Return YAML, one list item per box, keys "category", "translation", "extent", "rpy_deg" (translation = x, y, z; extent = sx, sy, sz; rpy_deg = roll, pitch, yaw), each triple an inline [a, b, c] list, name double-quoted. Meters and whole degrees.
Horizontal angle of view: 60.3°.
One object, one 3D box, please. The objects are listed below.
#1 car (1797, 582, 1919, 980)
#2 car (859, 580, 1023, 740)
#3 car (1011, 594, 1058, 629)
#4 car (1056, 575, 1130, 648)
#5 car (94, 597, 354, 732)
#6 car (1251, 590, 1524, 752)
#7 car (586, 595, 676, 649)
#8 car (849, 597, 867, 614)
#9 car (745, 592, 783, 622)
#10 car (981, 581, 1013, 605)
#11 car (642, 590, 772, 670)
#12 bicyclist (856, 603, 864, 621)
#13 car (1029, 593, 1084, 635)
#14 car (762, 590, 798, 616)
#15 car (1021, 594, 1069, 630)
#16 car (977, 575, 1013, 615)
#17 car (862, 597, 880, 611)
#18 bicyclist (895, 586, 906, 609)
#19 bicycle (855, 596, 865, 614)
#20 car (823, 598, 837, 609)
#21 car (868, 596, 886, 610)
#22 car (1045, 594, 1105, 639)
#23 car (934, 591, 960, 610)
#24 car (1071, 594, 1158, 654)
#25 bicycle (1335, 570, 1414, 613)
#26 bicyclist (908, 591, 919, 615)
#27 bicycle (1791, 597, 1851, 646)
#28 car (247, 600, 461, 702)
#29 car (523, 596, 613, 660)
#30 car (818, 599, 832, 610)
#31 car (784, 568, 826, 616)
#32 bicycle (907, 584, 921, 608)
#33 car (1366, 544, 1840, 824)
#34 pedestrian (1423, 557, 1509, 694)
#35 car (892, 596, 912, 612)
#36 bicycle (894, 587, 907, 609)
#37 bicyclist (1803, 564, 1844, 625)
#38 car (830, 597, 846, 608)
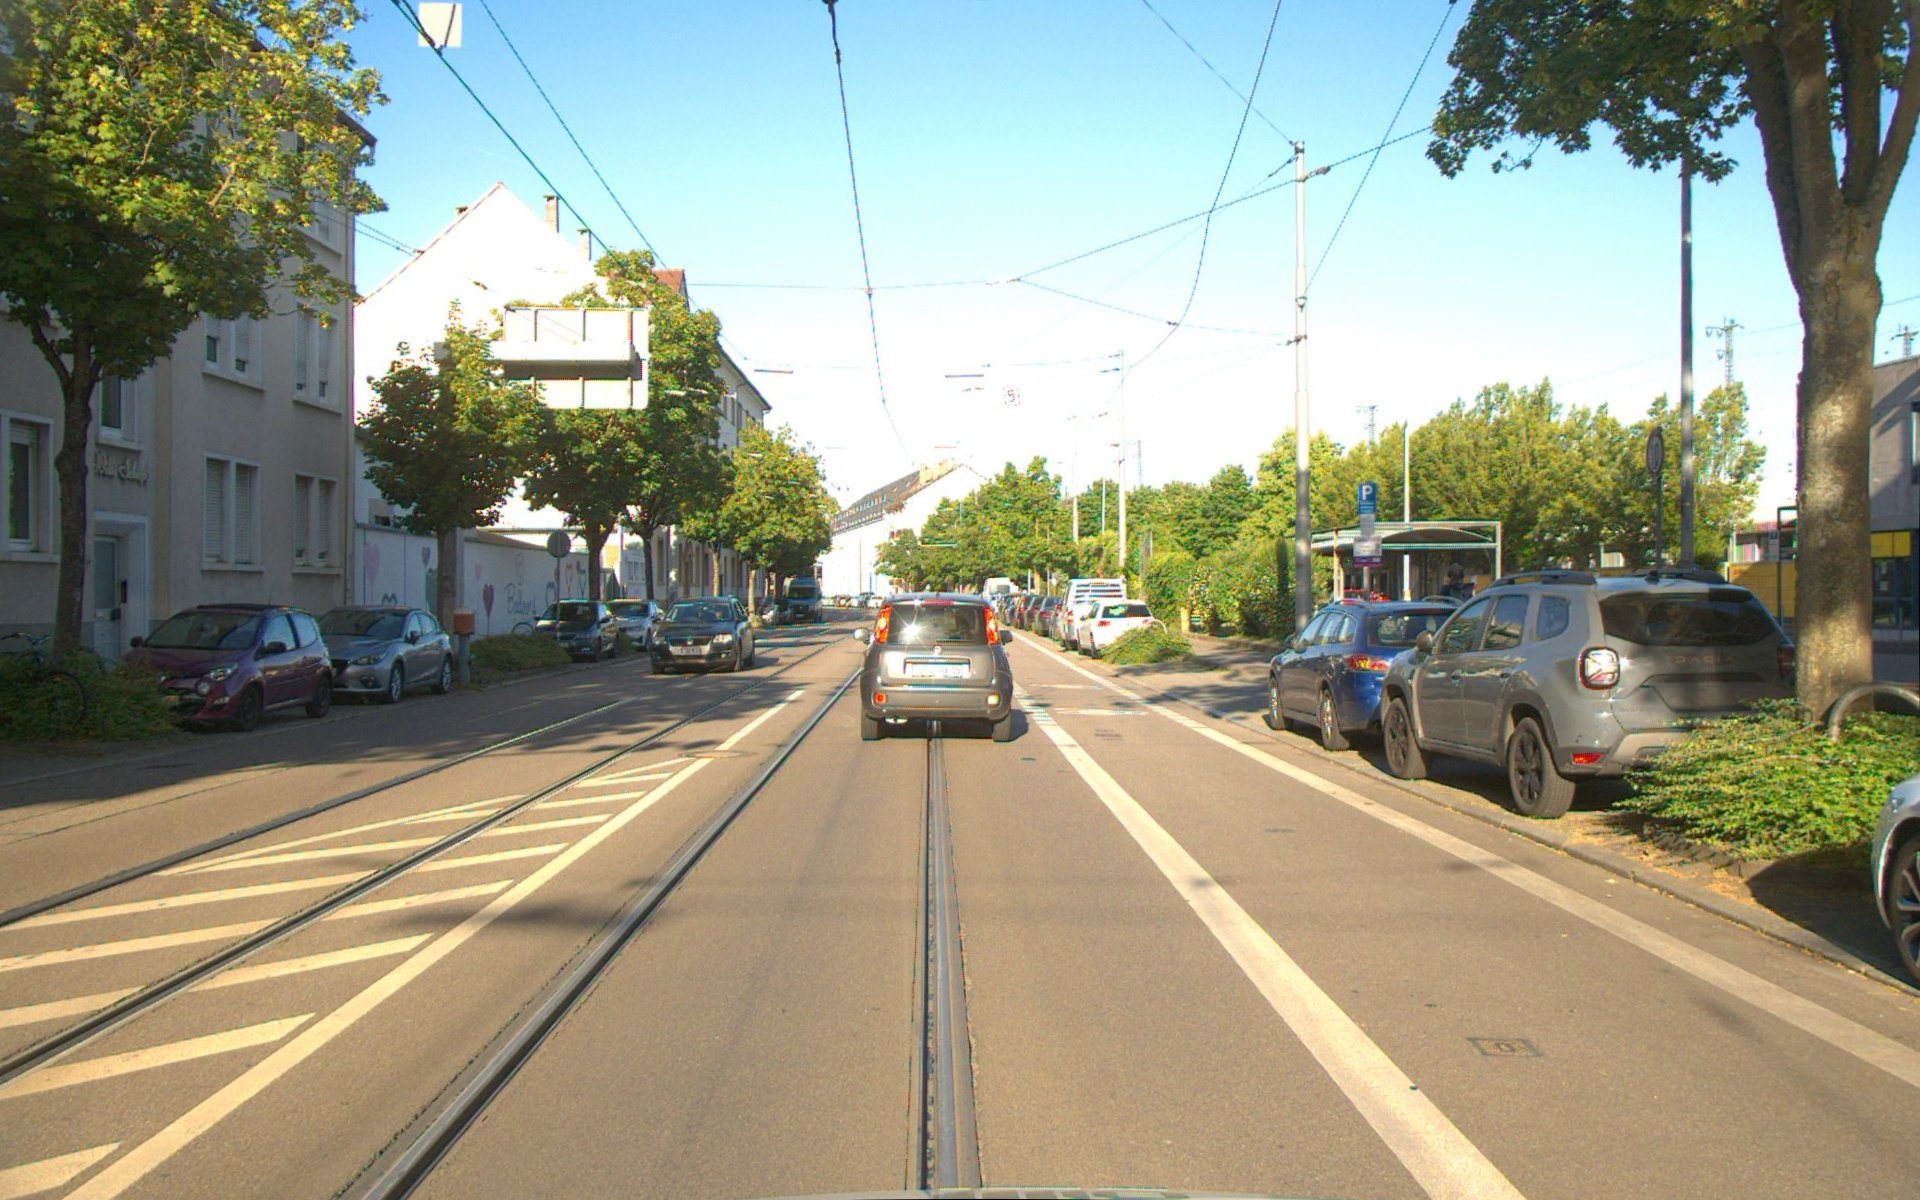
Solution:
- category: "car"
  translation: [4.542, 0.727, 4.911]
  extent: [1.677, 1.516, 4.622]
  rpy_deg: [1, 1, -1]
- category: "car"
  translation: [-0.230, 0.596, 18.596]
  extent: [1.616, 1.568, 4.233]
  rpy_deg: [-1, 0, -1]
- category: "car"
  translation: [3.409, 0.533, 76.625]
  extent: [1.788, 1.519, 3.812]
  rpy_deg: [-2, 0, -3]
- category: "car"
  translation: [3.873, 0.326, 48.973]
  extent: [1.816, 2.026, 5.242]
  rpy_deg: [0, 0, 1]
- category: "car"
  translation: [-9.207, 0.754, 21.040]
  extent: [1.540, 1.531, 3.999]
  rpy_deg: [1, 0, -1]
- category: "car"
  translation: [4.438, 0.676, 17.907]
  extent: [1.668, 1.507, 4.657]
  rpy_deg: [0, 0, -1]
- category: "car"
  translation: [-9.749, 0.629, 49.297]
  extent: [1.827, 1.516, 4.660]
  rpy_deg: [1, 0, -1]
- category: "car"
  translation: [-12.427, 0.694, 201.151]
  extent: [1.626, 1.978, 4.651]
  rpy_deg: [1, 0, -11]
- category: "car"
  translation: [-10.469, 0.367, 88.554]
  extent: [1.618, 1.517, 3.999]
  rpy_deg: [1, 0, -1]
- category: "car"
  translation: [2.528, -0.466, 113.911]
  extent: [1.872, 1.556, 4.598]
  rpy_deg: [-1, 0, -2]
- category: "car"
  translation: [-5.073, 0.584, 33.738]
  extent: [1.729, 1.489, 4.748]
  rpy_deg: [-1, 0, 2]
- category: "bicyclist"
  translation: [-11.211, 1.316, 185.558]
  extent: [0.702, 2.049, 0.829]
  rpy_deg: [1, -1, -12]
- category: "car"
  translation: [3.602, 0.514, 62.214]
  extent: [1.787, 1.510, 4.601]
  rpy_deg: [1, 0, 0]
- category: "car"
  translation: [-10.305, 0.159, 95.079]
  extent: [1.618, 1.450, 4.189]
  rpy_deg: [1, 0, -1]
- category: "car"
  translation: [3.611, 0.513, 70.704]
  extent: [1.787, 1.477, 4.641]
  rpy_deg: [0, 0, 0]
- category: "car"
  translation: [2.506, -0.349, 120.764]
  extent: [2.136, 2.712, 6.088]
  rpy_deg: [-2, 0, -3]
- category: "car"
  translation: [-10.410, 0.426, 193.626]
  extent: [1.626, 1.599, 3.865]
  rpy_deg: [1, 0, -11]
- category: "bicyclist"
  translation: [-4.826, -0.196, 134.212]
  extent: [0.687, 1.790, 0.755]
  rpy_deg: [1, -1, -12]
- category: "bicycle"
  translation: [-11.195, 0.531, 185.590]
  extent: [0.728, 2.049, 2.803]
  rpy_deg: [1, 0, -12]
- category: "car"
  translation: [-18.129, 0.452, 230.789]
  extent: [1.555, 1.430, 3.366]
  rpy_deg: [1, 0, -12]
- category: "car"
  translation: [-9.517, 0.377, 189.218]
  extent: [1.626, 1.599, 3.489]
  rpy_deg: [1, 0, -11]
- category: "car"
  translation: [3.950, 0.561, 57.413]
  extent: [1.834, 1.498, 4.075]
  rpy_deg: [1, 0, 1]
- category: "car"
  translation: [-1.143, 0.051, 139.881]
  extent: [1.657, 1.557, 3.993]
  rpy_deg: [-2, 0, -8]
- category: "car"
  translation: [4.029, 0.615, 43.662]
  extent: [1.642, 1.442, 4.500]
  rpy_deg: [-2, 0, -3]
- category: "bicycle"
  translation: [10.276, -0.218, 41.062]
  extent: [1.856, 1.026, 0.577]
  rpy_deg: [1, 0, 11]
- category: "bicyclist"
  translation: [-3.536, 0.220, 125.308]
  extent: [0.687, 1.790, 0.755]
  rpy_deg: [1, -1, -12]
- category: "bicycle"
  translation: [20.006, 0.500, 38.423]
  extent: [0.741, 1.089, 1.996]
  rpy_deg: [0, -1, 43]
- category: "car"
  translation: [-9.453, 0.753, 26.199]
  extent: [1.835, 1.454, 4.292]
  rpy_deg: [1, 0, -1]
- category: "car"
  translation: [-9.807, 0.681, 41.669]
  extent: [1.739, 1.512, 4.298]
  rpy_deg: [1, 0, -8]
- category: "car"
  translation: [-19.292, 0.652, 236.391]
  extent: [1.555, 1.627, 3.366]
  rpy_deg: [1, 0, -12]
- category: "car"
  translation: [-9.587, -0.450, 102.650]
  extent: [1.976, 2.875, 6.031]
  rpy_deg: [1, 0, 0]
- category: "bicycle"
  translation: [-3.499, -0.311, 125.260]
  extent: [0.663, 1.777, 2.151]
  rpy_deg: [1, 0, -12]
- category: "car"
  translation: [4.595, 0.540, 12.576]
  extent: [1.707, 1.741, 4.274]
  rpy_deg: [1, 0, -4]
- category: "pedestrian"
  translation: [7.059, 0.346, 23.111]
  extent: [0.657, 1.820, 1.304]
  rpy_deg: [-4, 0, -1]
- category: "car"
  translation: [-6.029, 0.442, 171.236]
  extent: [1.606, 1.534, 3.388]
  rpy_deg: [-3, 0, -10]
- category: "bicycle"
  translation: [-4.800, -0.177, 134.150]
  extent: [0.663, 1.777, 2.151]
  rpy_deg: [1, 0, -12]
- category: "bicyclist"
  translation: [20.096, -0.131, 38.492]
  extent: [0.717, 1.408, 0.578]
  rpy_deg: [0, -1, 43]
- category: "car"
  translation: [-16.138, 0.315, 218.980]
  extent: [1.555, 1.429, 3.366]
  rpy_deg: [-3, 1, -12]
